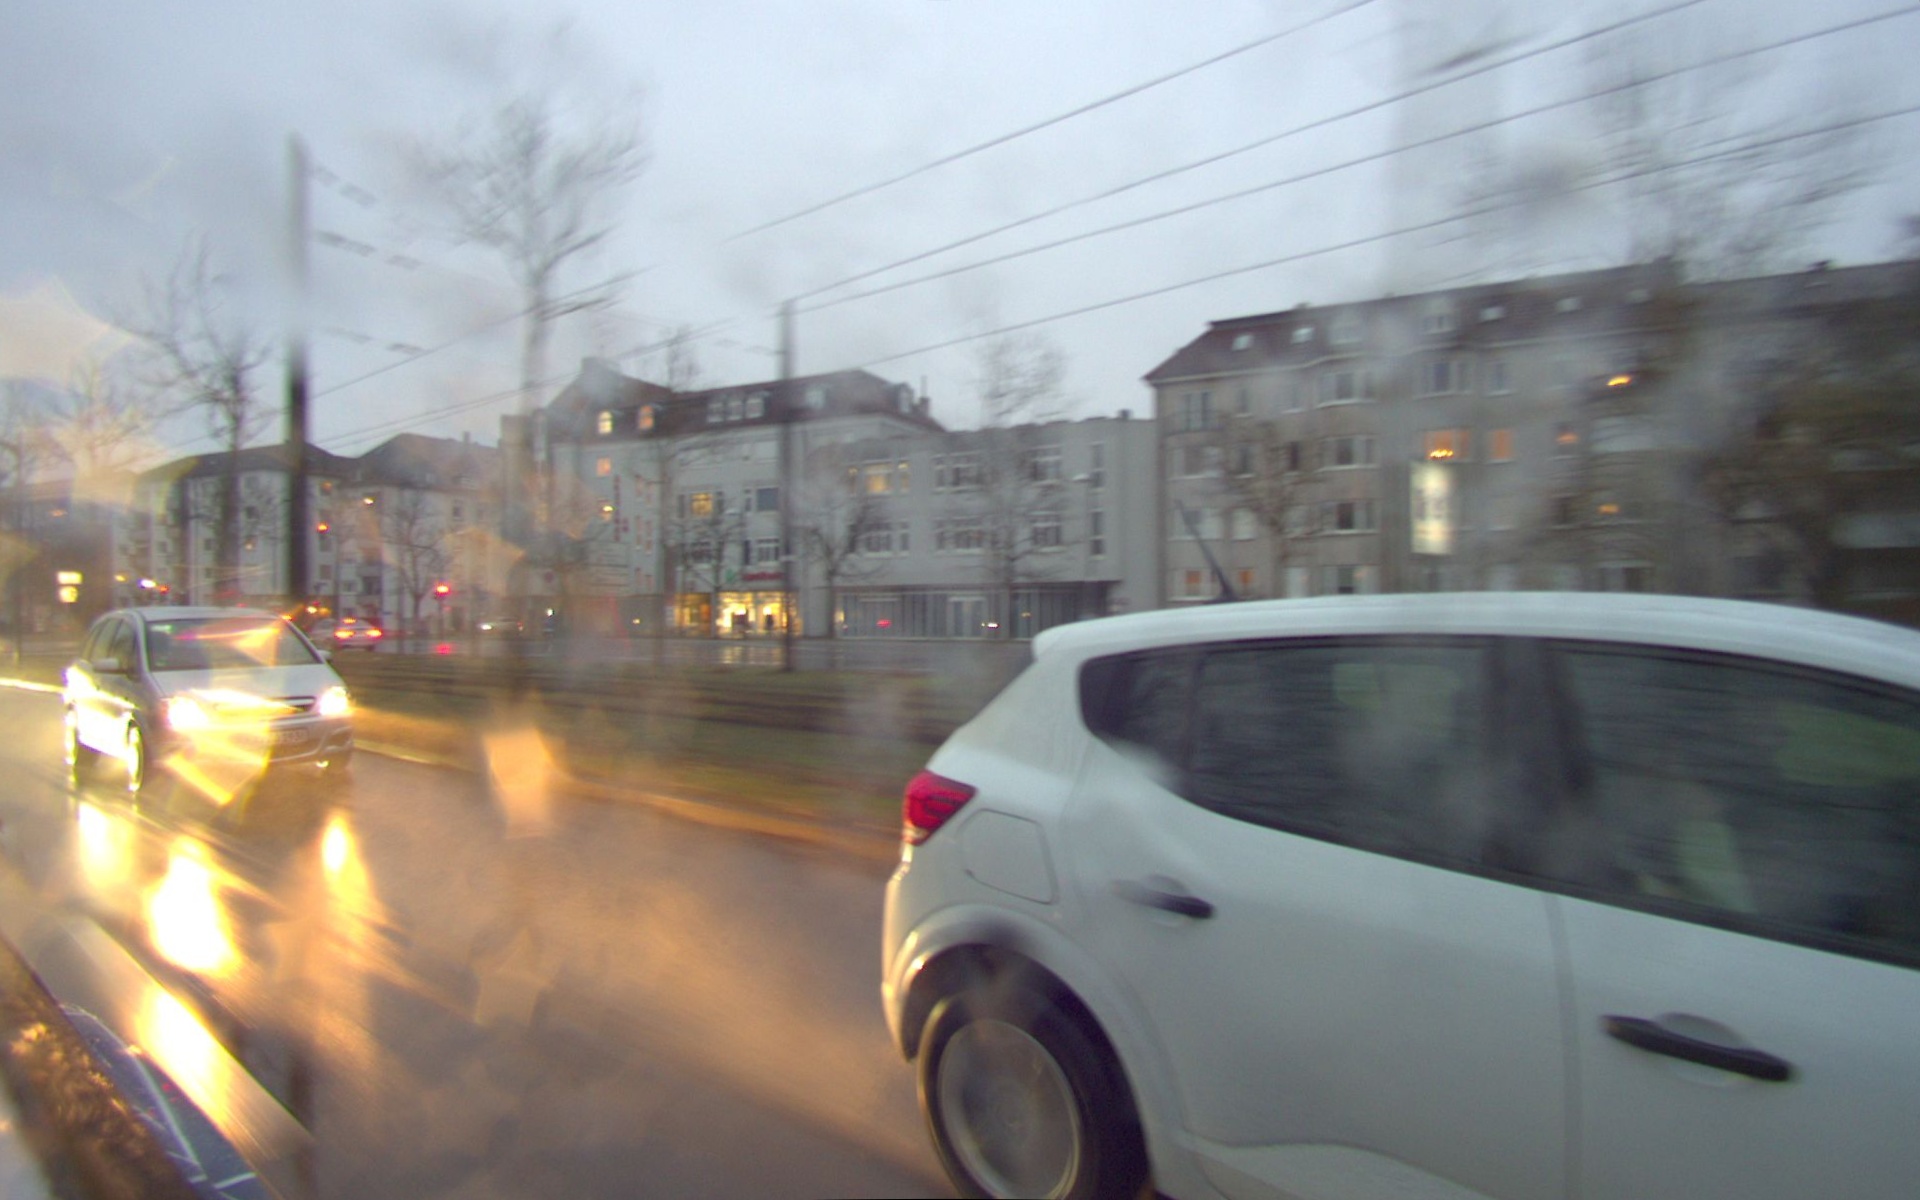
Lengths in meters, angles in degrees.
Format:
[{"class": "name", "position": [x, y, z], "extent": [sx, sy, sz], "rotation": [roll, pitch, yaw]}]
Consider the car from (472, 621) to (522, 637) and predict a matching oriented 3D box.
[{"class": "car", "position": [-42.560, 2.668, 93.008], "extent": [1.772, 1.487, 3.857], "rotation": [-1, -2, 32]}]

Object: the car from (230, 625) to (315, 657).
[{"class": "car", "position": [-31.483, 1.851, 46.334], "extent": [4.280, 1.365, 1.875], "rotation": [-1, -2, 36]}]

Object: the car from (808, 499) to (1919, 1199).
[{"class": "car", "position": [1.696, 0.647, 1.929], "extent": [4.133, 1.536, 1.690], "rotation": [-1, -1, 42]}]

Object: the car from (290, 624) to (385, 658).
[{"class": "car", "position": [-26.329, 1.700, 42.754], "extent": [4.279, 1.365, 1.876], "rotation": [-1, -2, 35]}]

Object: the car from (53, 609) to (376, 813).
[{"class": "car", "position": [-7.302, 0.899, 9.779], "extent": [3.919, 1.587, 1.648], "rotation": [-1, -1, 40]}]
